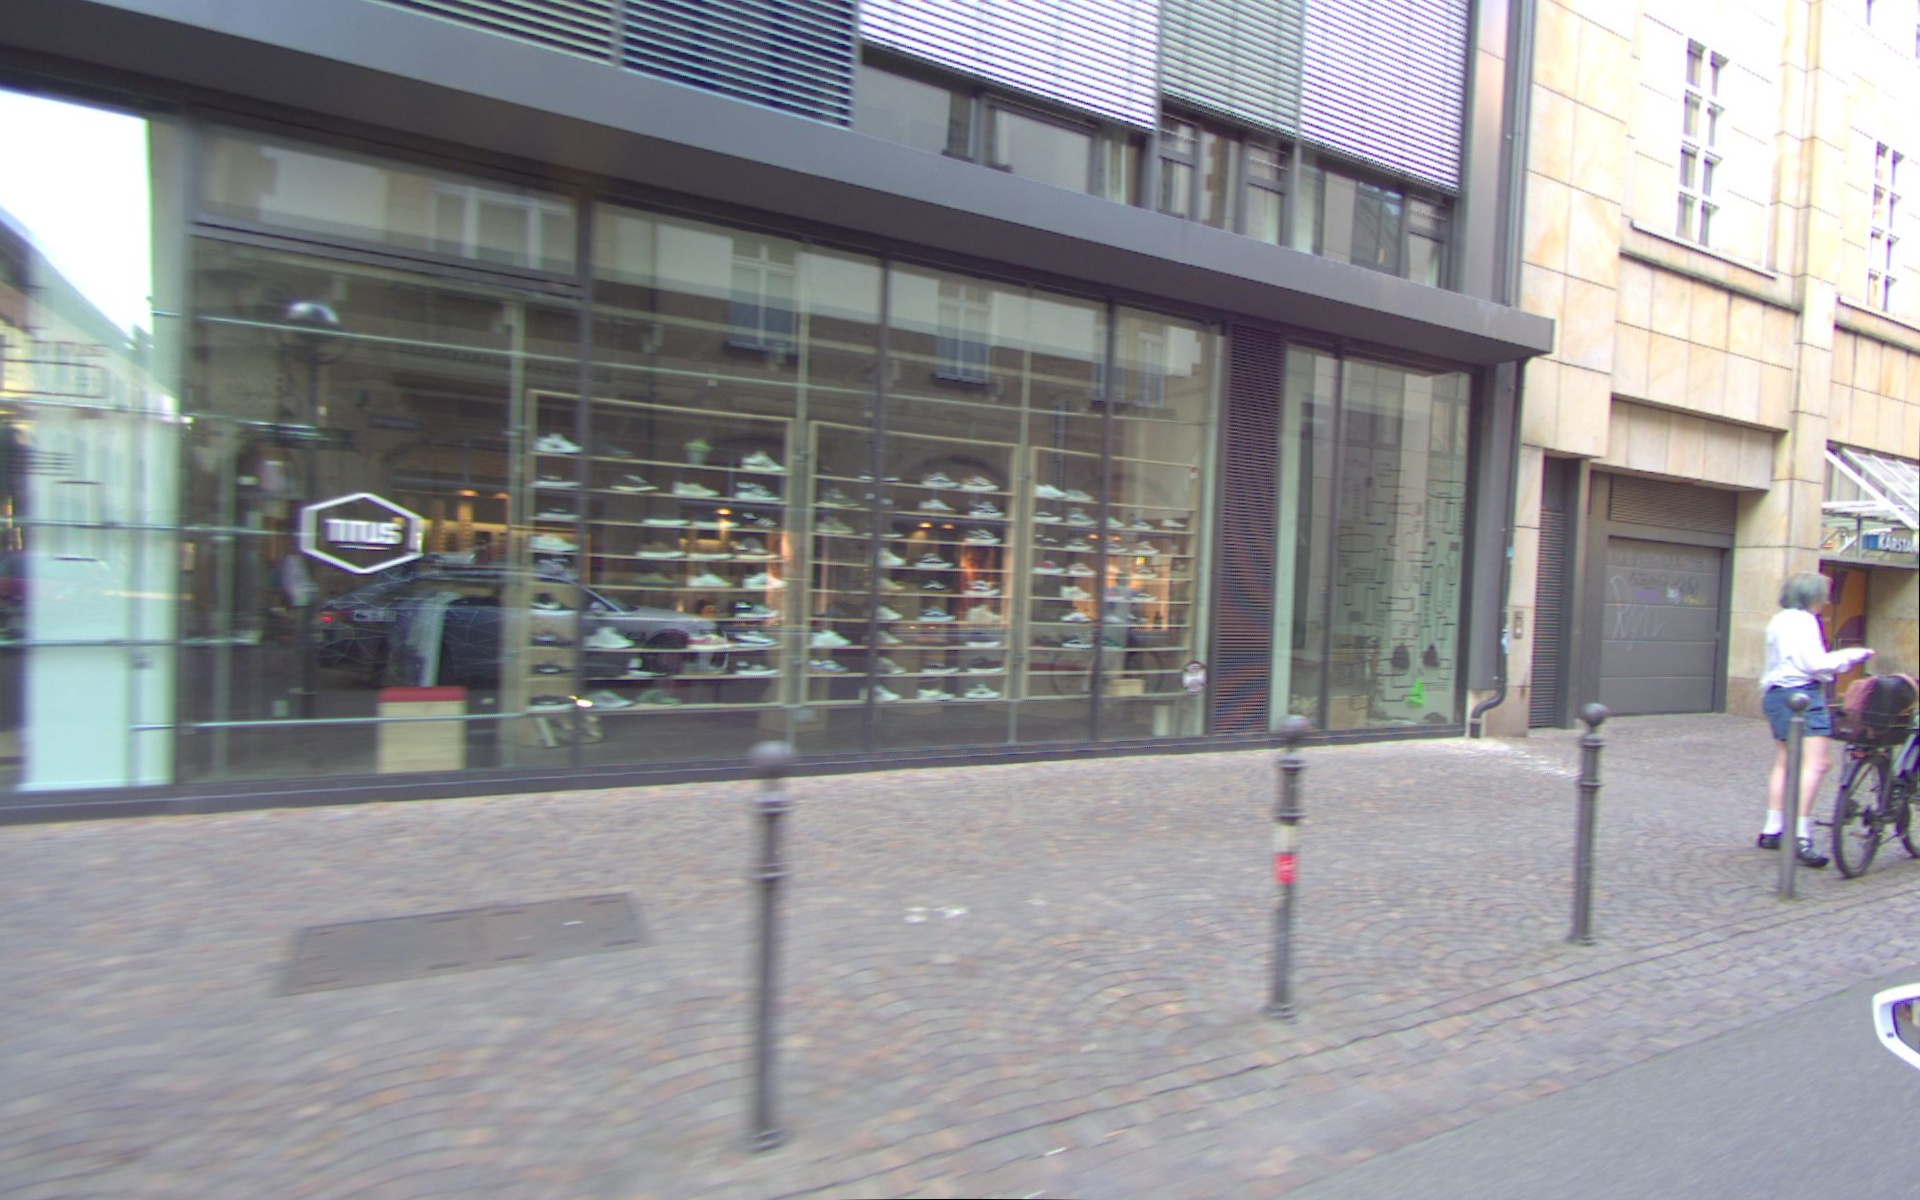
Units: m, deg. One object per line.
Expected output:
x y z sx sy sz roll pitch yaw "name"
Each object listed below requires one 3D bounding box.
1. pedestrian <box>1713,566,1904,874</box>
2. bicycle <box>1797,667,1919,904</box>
5.221 0.682 6.214 0.759 1.742 0.589 5 4 41 "pedestrian"
5.753 1.011 5.908 1.890 1.169 0.530 1 3 -28 "bicycle"
